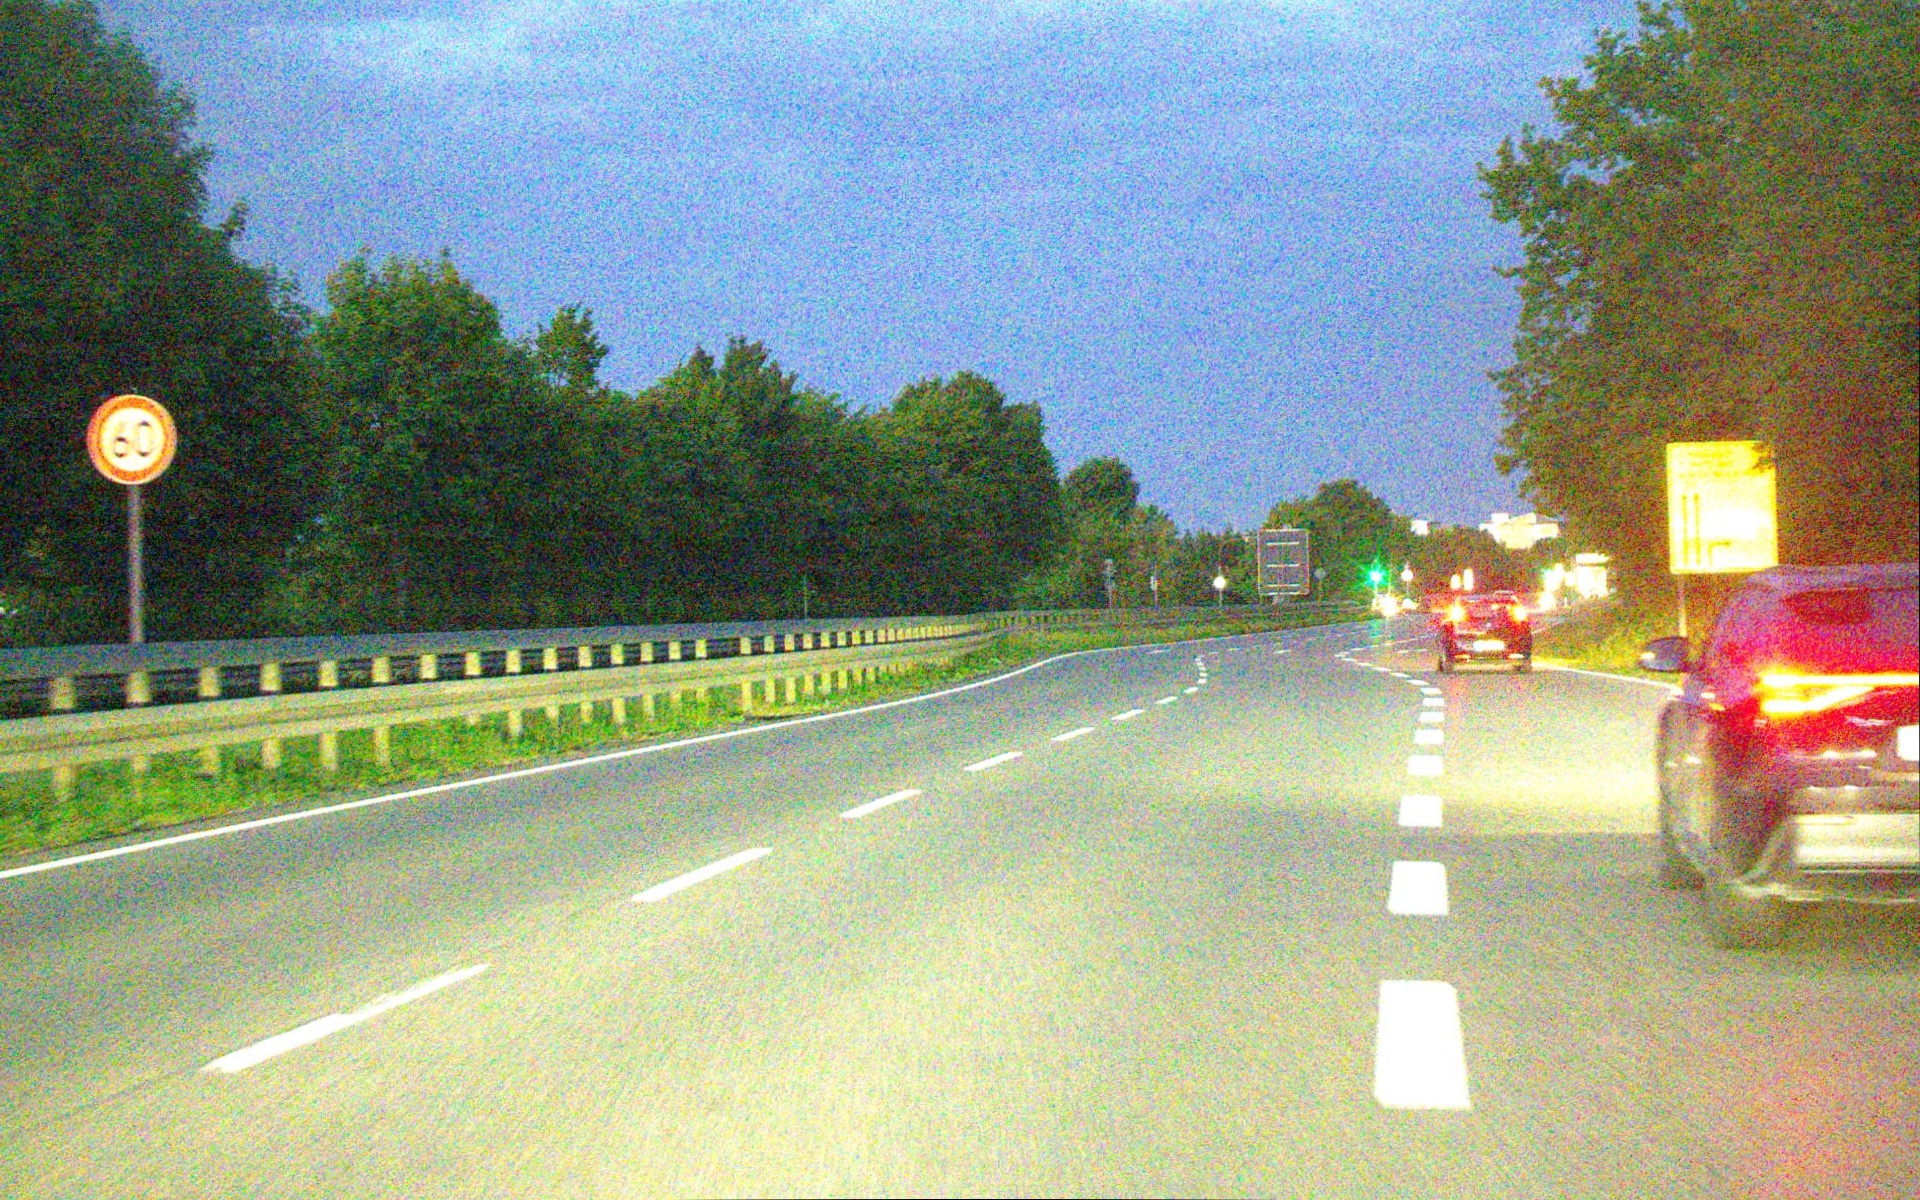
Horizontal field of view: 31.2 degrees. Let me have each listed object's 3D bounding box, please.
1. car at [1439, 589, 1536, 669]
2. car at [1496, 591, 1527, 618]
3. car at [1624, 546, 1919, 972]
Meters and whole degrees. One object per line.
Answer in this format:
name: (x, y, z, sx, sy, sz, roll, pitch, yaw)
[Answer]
car: (10.122, 0.542, 66.074, 1.753, 1.448, 4.431, -1, 0, 8)
car: (39.765, 0.356, 247.864, 1.994, 1.744, 3.998, -5, -2, 10)
car: (4.073, 0.598, 15.273, 1.901, 1.614, 4.555, -1, 0, 7)
